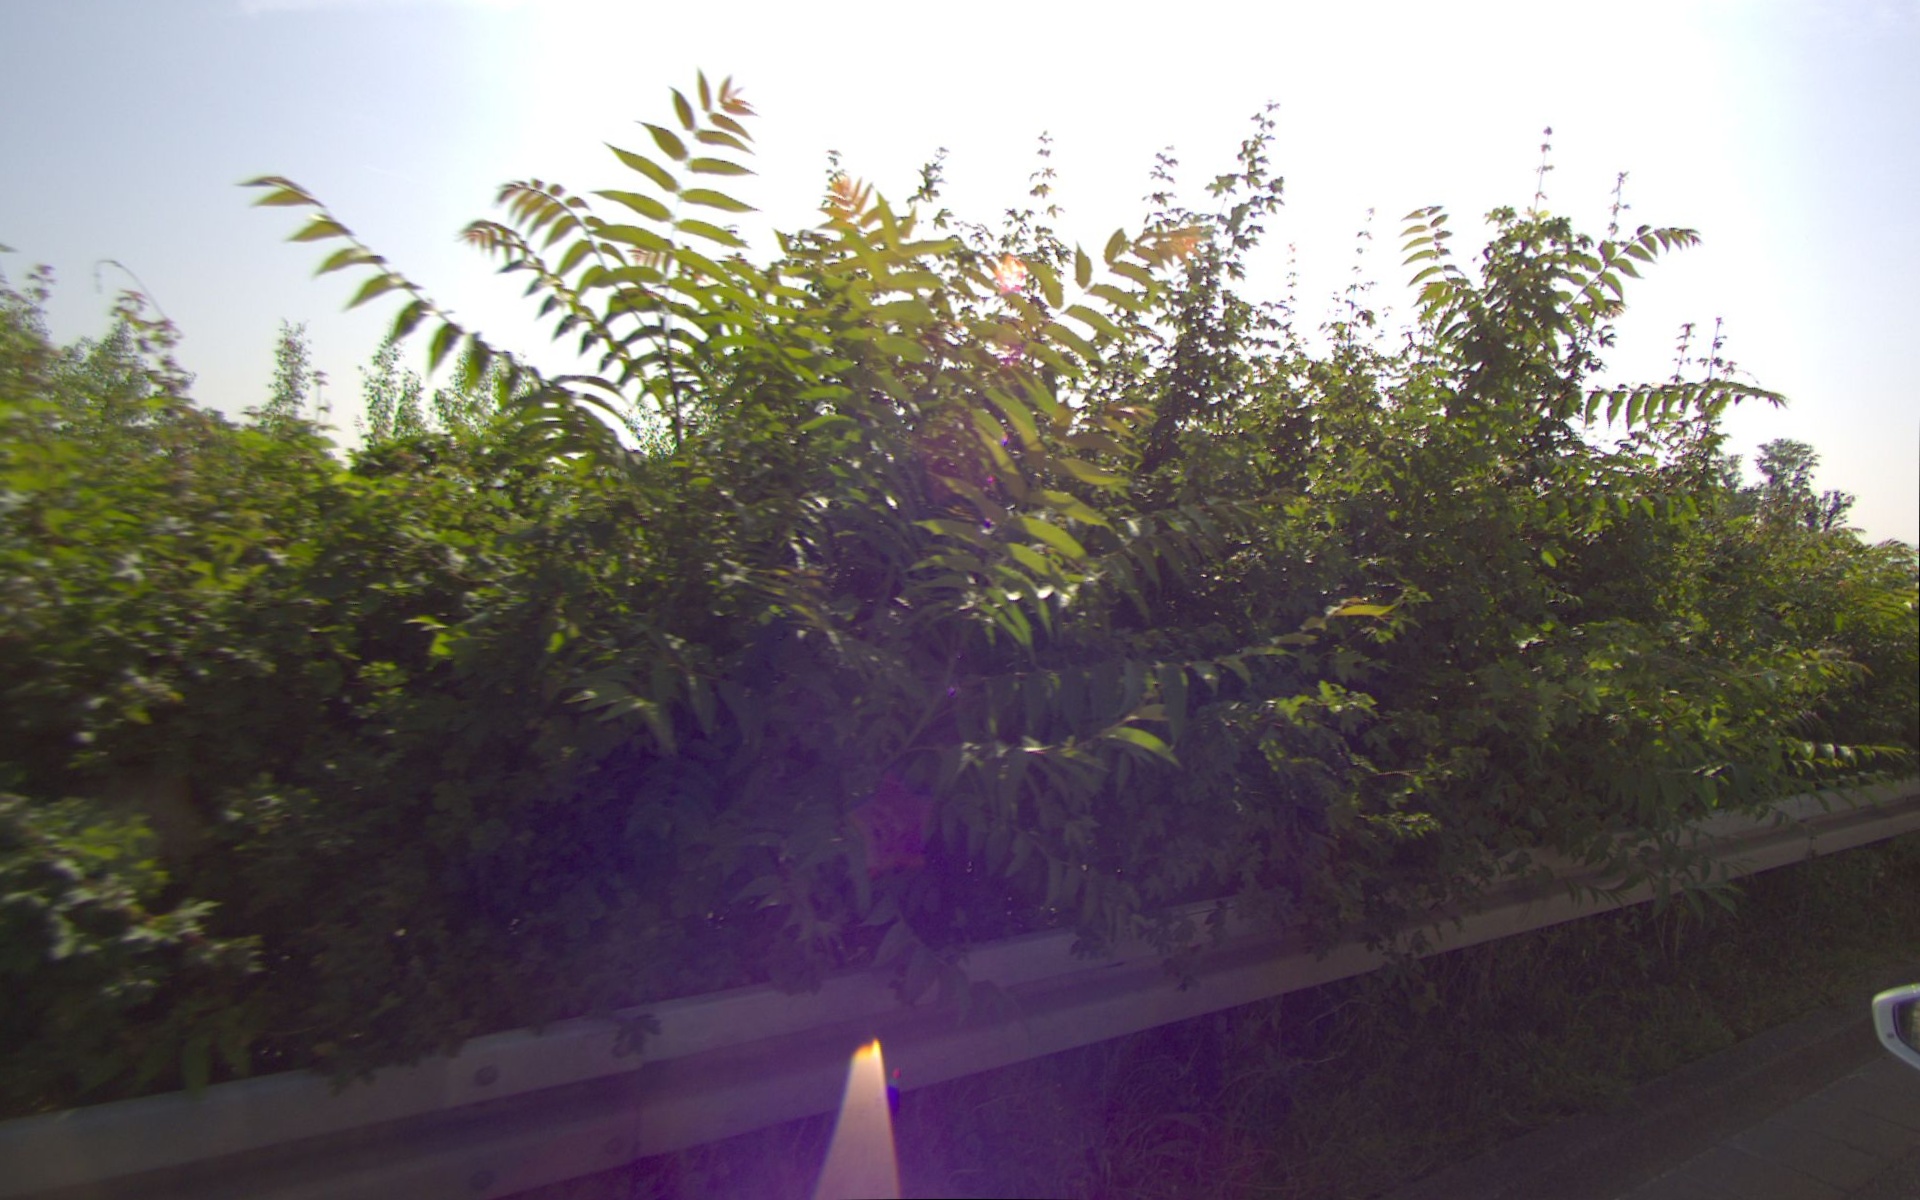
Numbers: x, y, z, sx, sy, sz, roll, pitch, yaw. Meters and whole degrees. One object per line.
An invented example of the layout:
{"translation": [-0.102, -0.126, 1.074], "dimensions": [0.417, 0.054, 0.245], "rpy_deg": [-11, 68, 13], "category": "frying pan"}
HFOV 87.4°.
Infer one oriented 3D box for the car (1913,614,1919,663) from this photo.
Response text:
{"translation": [32.132, 1.271, 31.934], "dimensions": [3.954, 1.523, 1.639], "rpy_deg": [1, 1, -31], "category": "car"}
